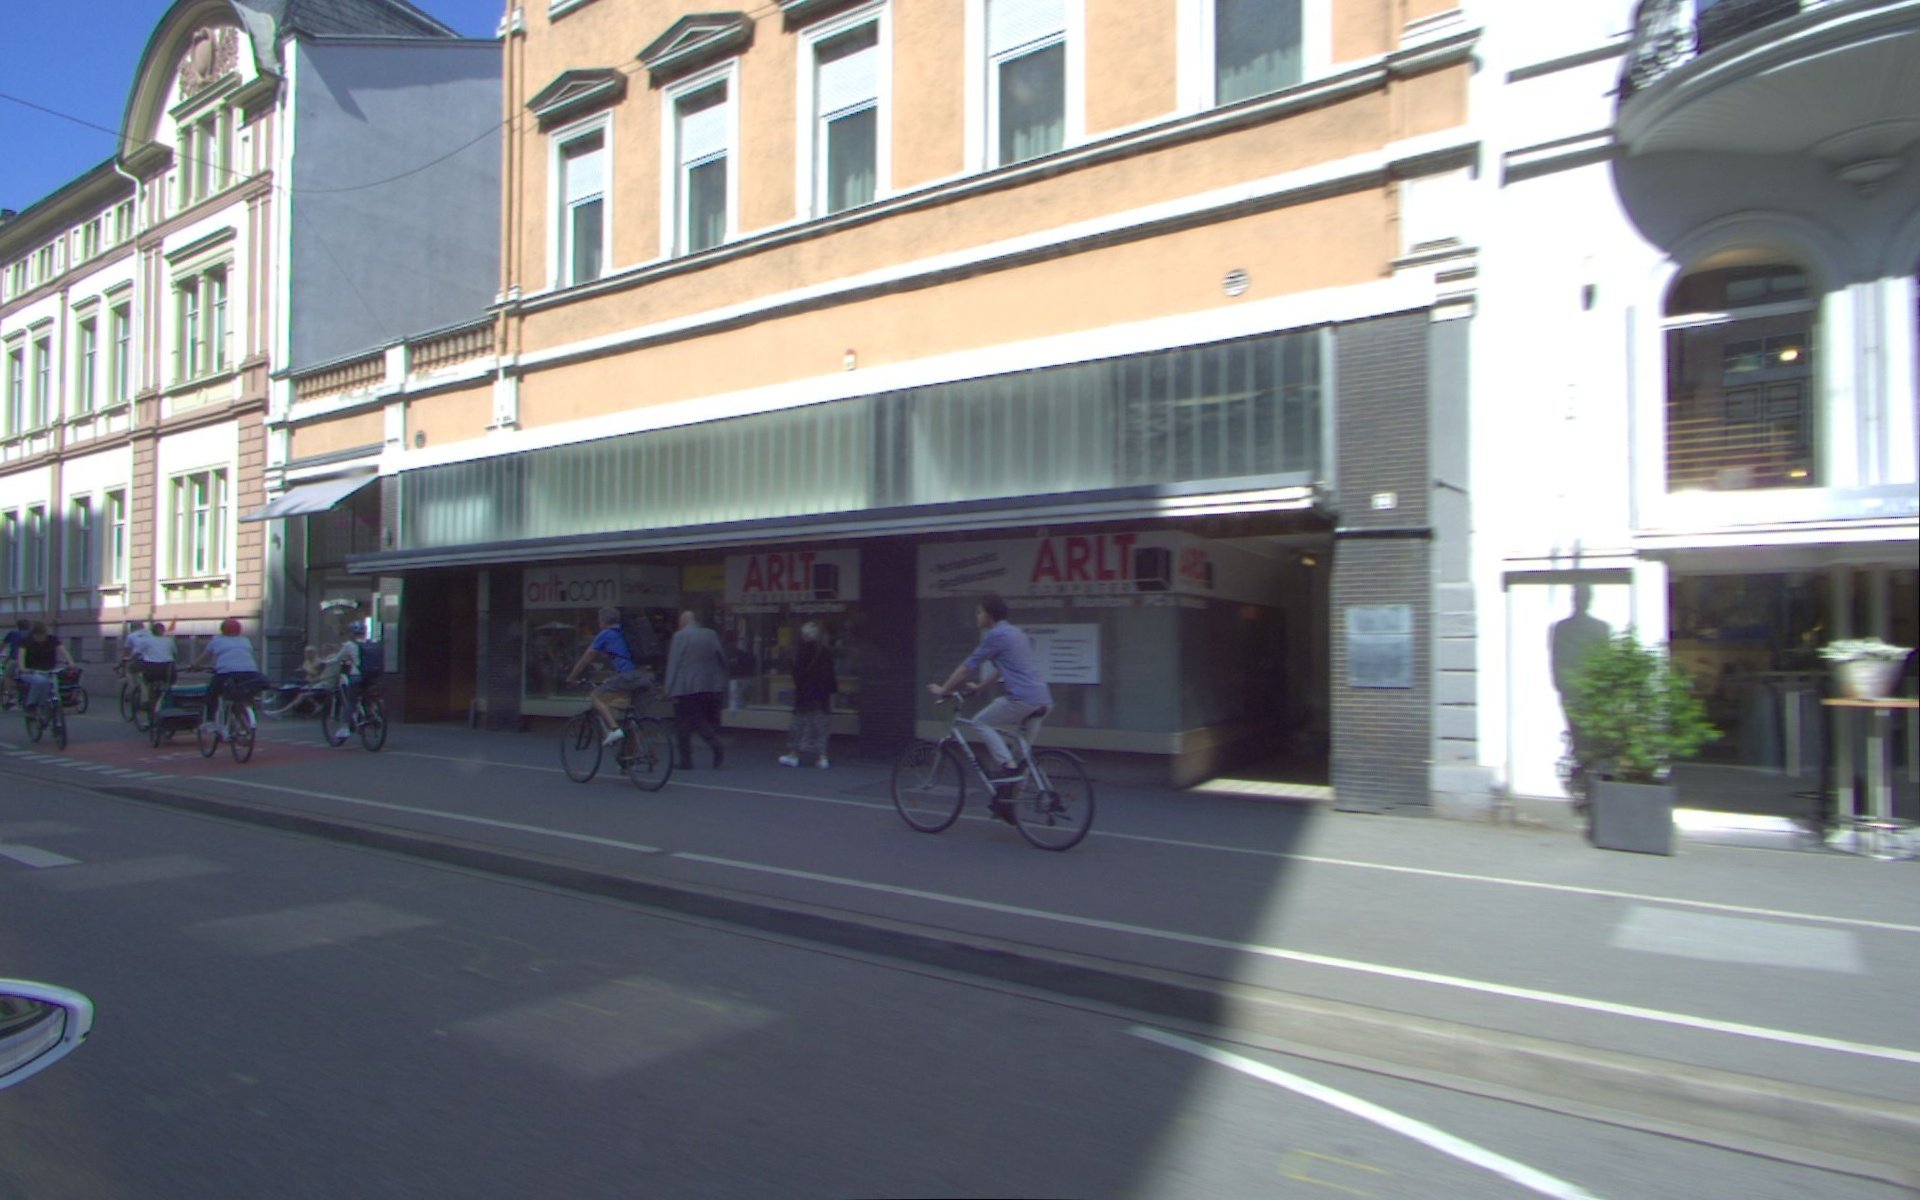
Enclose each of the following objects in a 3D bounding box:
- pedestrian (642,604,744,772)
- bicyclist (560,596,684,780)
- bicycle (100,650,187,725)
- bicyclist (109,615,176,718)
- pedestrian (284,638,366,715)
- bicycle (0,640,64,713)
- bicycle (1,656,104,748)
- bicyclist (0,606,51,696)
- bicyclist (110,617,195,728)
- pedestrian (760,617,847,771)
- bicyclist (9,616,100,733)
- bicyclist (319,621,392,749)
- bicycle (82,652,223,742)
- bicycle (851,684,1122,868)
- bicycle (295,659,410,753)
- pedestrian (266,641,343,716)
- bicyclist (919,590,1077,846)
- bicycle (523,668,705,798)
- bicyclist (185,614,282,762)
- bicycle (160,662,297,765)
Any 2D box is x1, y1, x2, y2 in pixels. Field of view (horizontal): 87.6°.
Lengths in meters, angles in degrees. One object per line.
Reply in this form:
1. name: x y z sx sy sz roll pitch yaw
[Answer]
1. pedestrian: -3.029 0.973 11.410 0.756 1.814 0.837 -1 -1 32
2. bicyclist: -3.379 0.850 10.032 0.832 1.739 0.837 -1 -1 32
3. bicycle: -13.948 1.462 17.085 2.048 1.142 0.570 0 0 33
4. bicyclist: -13.944 1.109 17.081 1.142 1.683 0.570 1 0 33
5. pedestrian: -11.636 1.381 18.374 0.615 1.334 1.084 0 1 30
6. bicycle: -18.294 1.458 19.457 2.250 1.284 0.731 0 -3 34
7. bicycle: -12.881 1.410 14.189 2.064 1.142 0.593 0 0 33
8. bicyclist: -18.216 0.985 19.393 0.763 1.695 0.729 -1 -1 32
9. bicyclist: -12.223 1.074 15.164 0.832 1.594 0.744 2 0 32
10. pedestrian: -1.784 1.045 11.426 0.832 1.686 0.520 -1 -2 32
11. bicyclist: -12.810 1.033 14.172 0.832 1.593 0.744 -1 -1 32
12. bicyclist: -8.070 1.114 13.364 0.832 1.657 0.514 -1 -1 32
13. bicycle: -12.356 1.430 15.267 3.195 1.142 0.746 0 0 34
14. bicycle: 0.179 1.232 7.441 1.889 1.132 0.746 -1 -2 30
15. bicycle: -8.202 1.387 13.489 1.834 1.141 0.604 -1 -1 33
16. pedestrian: -12.223 1.440 18.690 0.615 1.333 1.028 0 -1 30
17. bicyclist: 0.290 0.821 7.424 0.832 1.739 0.906 -1 -2 32
18. bicycle: -3.493 1.284 10.049 1.964 1.132 0.661 -1 -2 33
19. bicyclist: -9.017 1.061 12.431 0.832 1.740 0.681 -1 1 32
20. bicycle: -9.188 1.377 12.550 2.005 1.141 0.733 -1 -1 33
